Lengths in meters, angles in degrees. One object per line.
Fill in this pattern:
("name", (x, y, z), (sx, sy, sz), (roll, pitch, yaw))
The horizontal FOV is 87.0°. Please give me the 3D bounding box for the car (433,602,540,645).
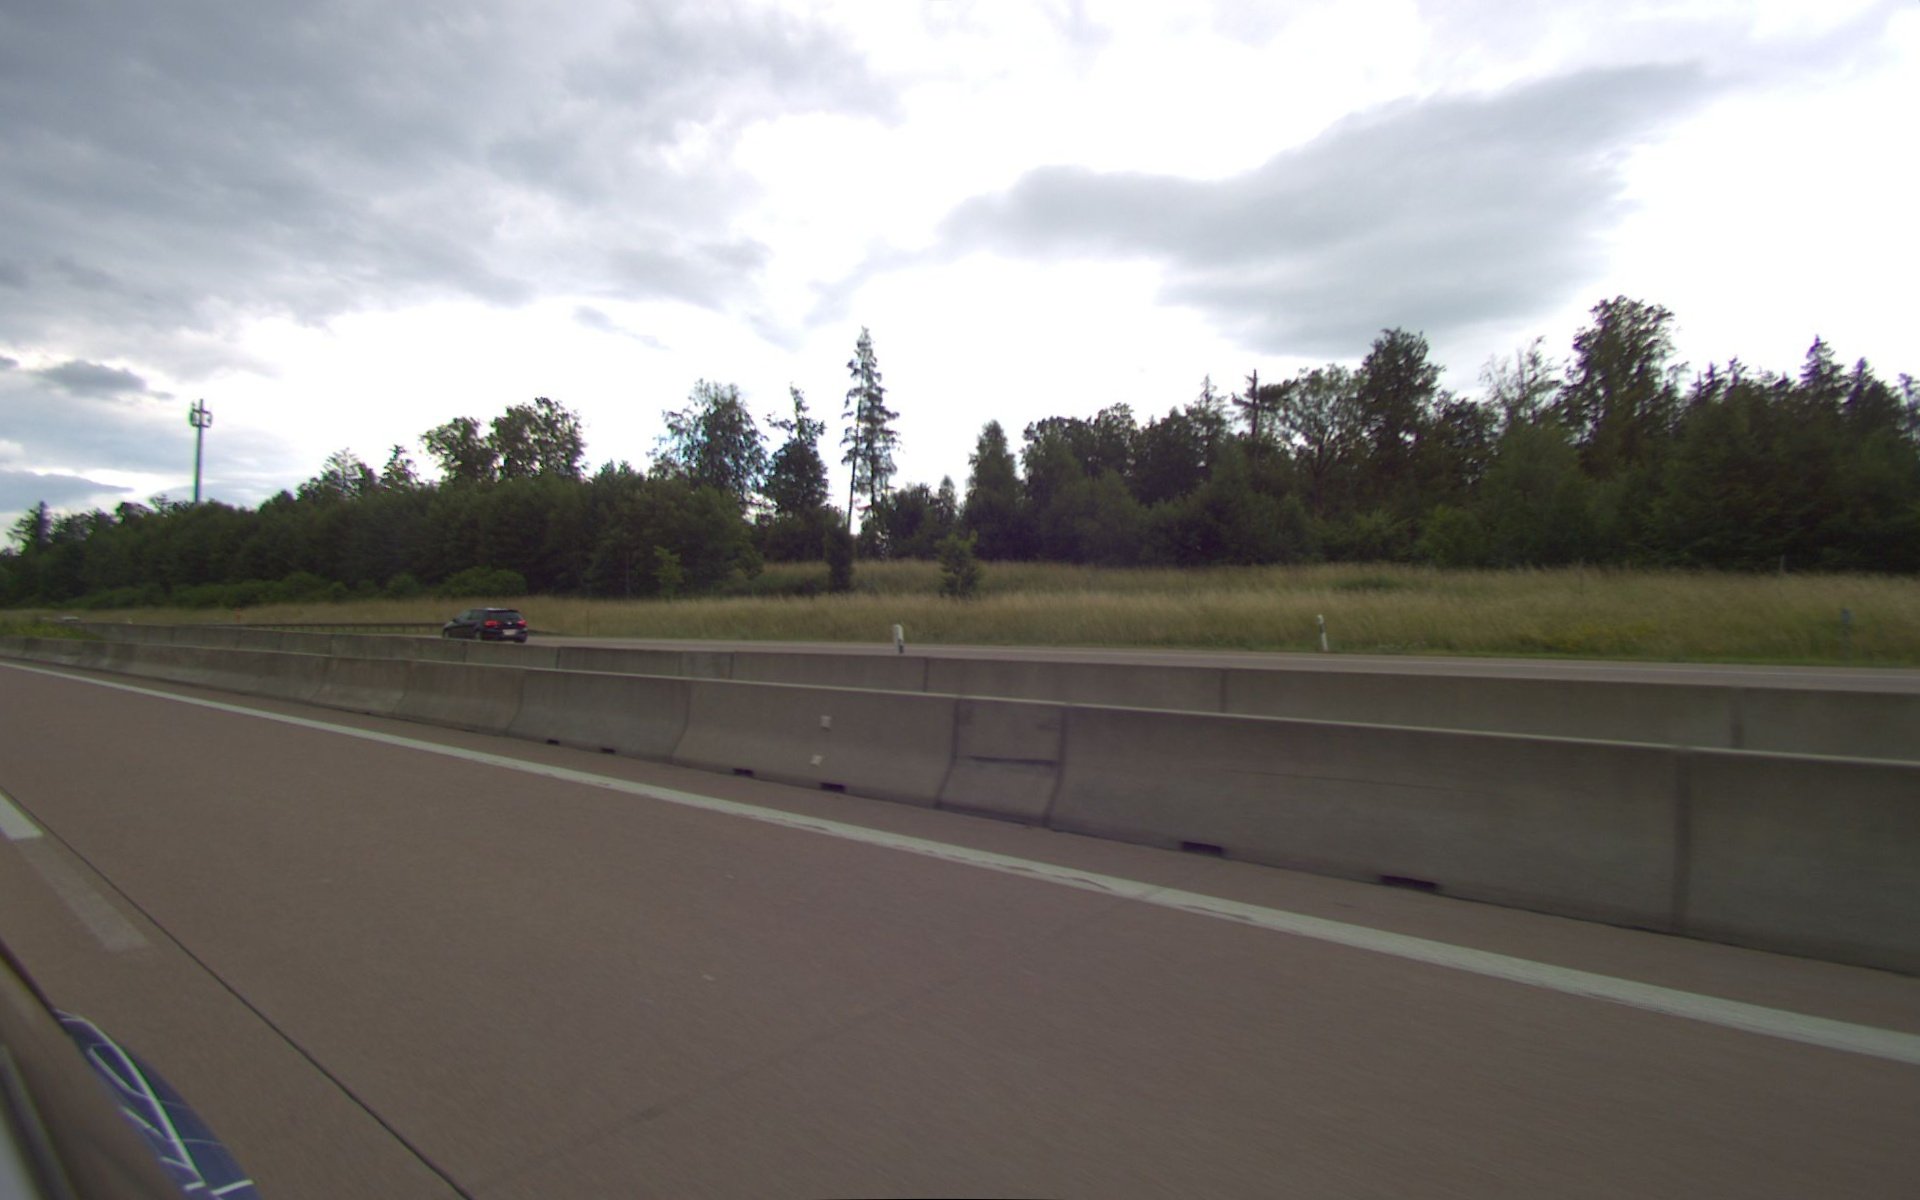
("car", (-18.072, 0.861, 38.556), (4.417, 1.499, 1.911), (0, 1, 38))
